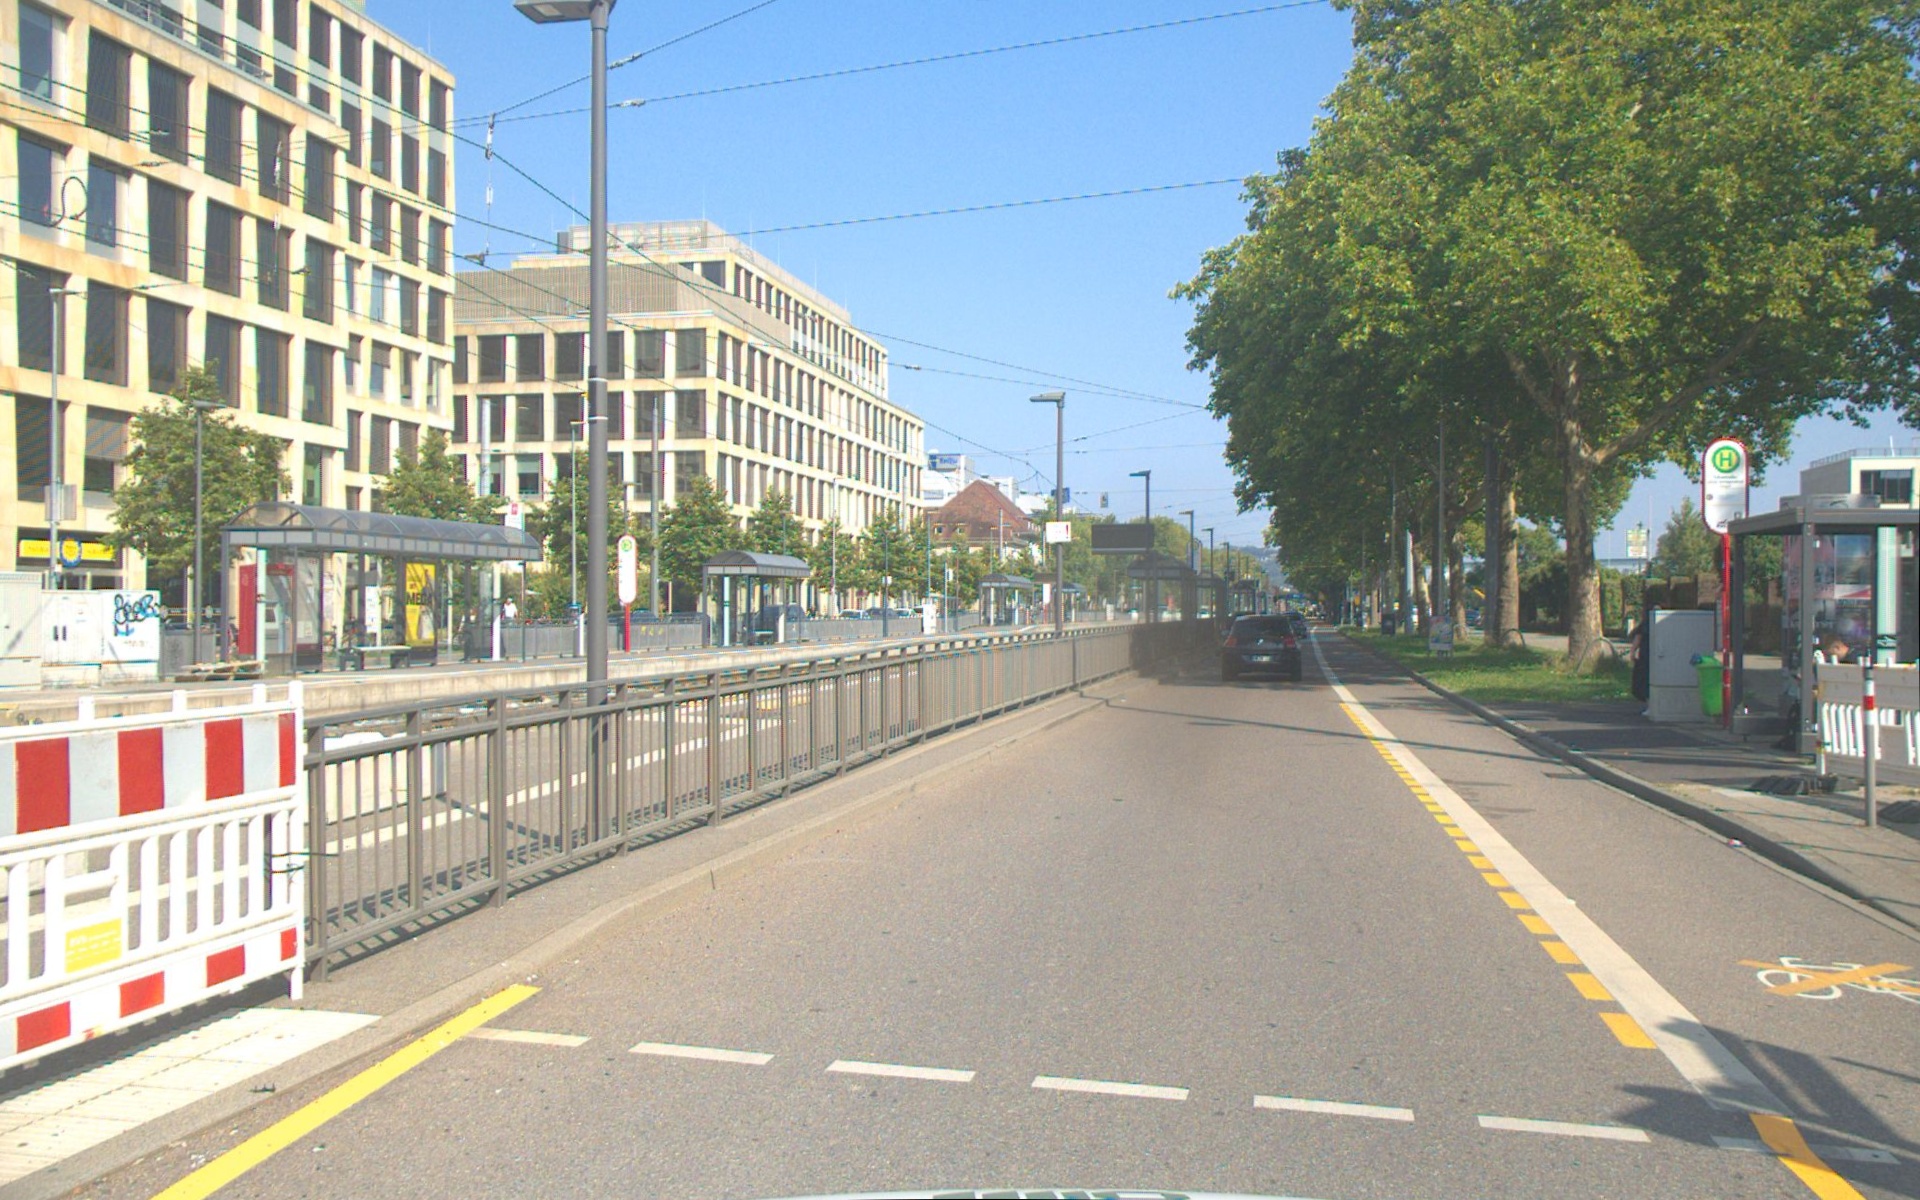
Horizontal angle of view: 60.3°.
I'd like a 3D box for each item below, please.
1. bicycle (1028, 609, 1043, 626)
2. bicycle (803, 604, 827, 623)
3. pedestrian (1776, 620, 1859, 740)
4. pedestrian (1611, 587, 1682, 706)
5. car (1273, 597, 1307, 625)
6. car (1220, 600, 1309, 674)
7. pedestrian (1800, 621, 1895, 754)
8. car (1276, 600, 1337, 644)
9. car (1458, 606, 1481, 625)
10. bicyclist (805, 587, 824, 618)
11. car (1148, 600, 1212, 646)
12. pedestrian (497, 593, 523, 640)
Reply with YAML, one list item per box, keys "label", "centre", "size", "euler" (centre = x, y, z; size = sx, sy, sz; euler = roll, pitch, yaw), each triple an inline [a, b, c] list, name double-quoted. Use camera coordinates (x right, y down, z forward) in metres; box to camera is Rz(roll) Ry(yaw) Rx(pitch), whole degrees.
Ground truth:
- label: "bicycle"
  centre: [5.186, 1.219, 113.310]
  size: [0.462, 1.167, 1.482]
  euler: [0, -1, 26]
- label: "bicycle"
  centre: [-6.989, 0.639, 79.855]
  size: [0.615, 0.836, 1.899]
  euler: [-3, -2, 11]
- label: "pedestrian"
  centre: [9.162, 0.845, 17.694]
  size: [0.595, 1.239, 0.575]
  euler: [-2, -1, 9]
- label: "pedestrian"
  centre: [9.810, 0.655, 23.673]
  size: [0.863, 1.654, 0.823]
  euler: [0, 0, 18]
- label: "car"
  centre: [18.739, 0.625, 93.975]
  size: [1.866, 1.564, 4.003]
  euler: [0, 0, 11]
- label: "car"
  centre: [6.956, 0.814, 37.649]
  size: [1.866, 1.564, 4.003]
  euler: [1, 0, 11]
- label: "pedestrian"
  centre: [9.044, 0.878, 16.878]
  size: [0.595, 1.299, 0.760]
  euler: [-2, -1, 9]
- label: "car"
  centre: [12.240, 0.751, 58.203]
  size: [1.951, 1.466, 4.003]
  euler: [0, 0, 14]
- label: "car"
  centre: [46.353, 1.415, 150.481]
  size: [1.573, 1.603, 3.799]
  euler: [-1, -1, 12]
- label: "bicyclist"
  centre: [-7.021, 0.111, 79.833]
  size: [0.615, 1.427, 0.785]
  euler: [-3, -3, 11]
- label: "car"
  centre: [7.969, 0.796, 59.560]
  size: [1.951, 1.586, 4.003]
  euler: [0, 0, 12]
- label: "pedestrian"
  centre: [-19.359, 0.703, 71.192]
  size: [0.776, 1.950, 0.839]
  euler: [-3, -3, 6]
